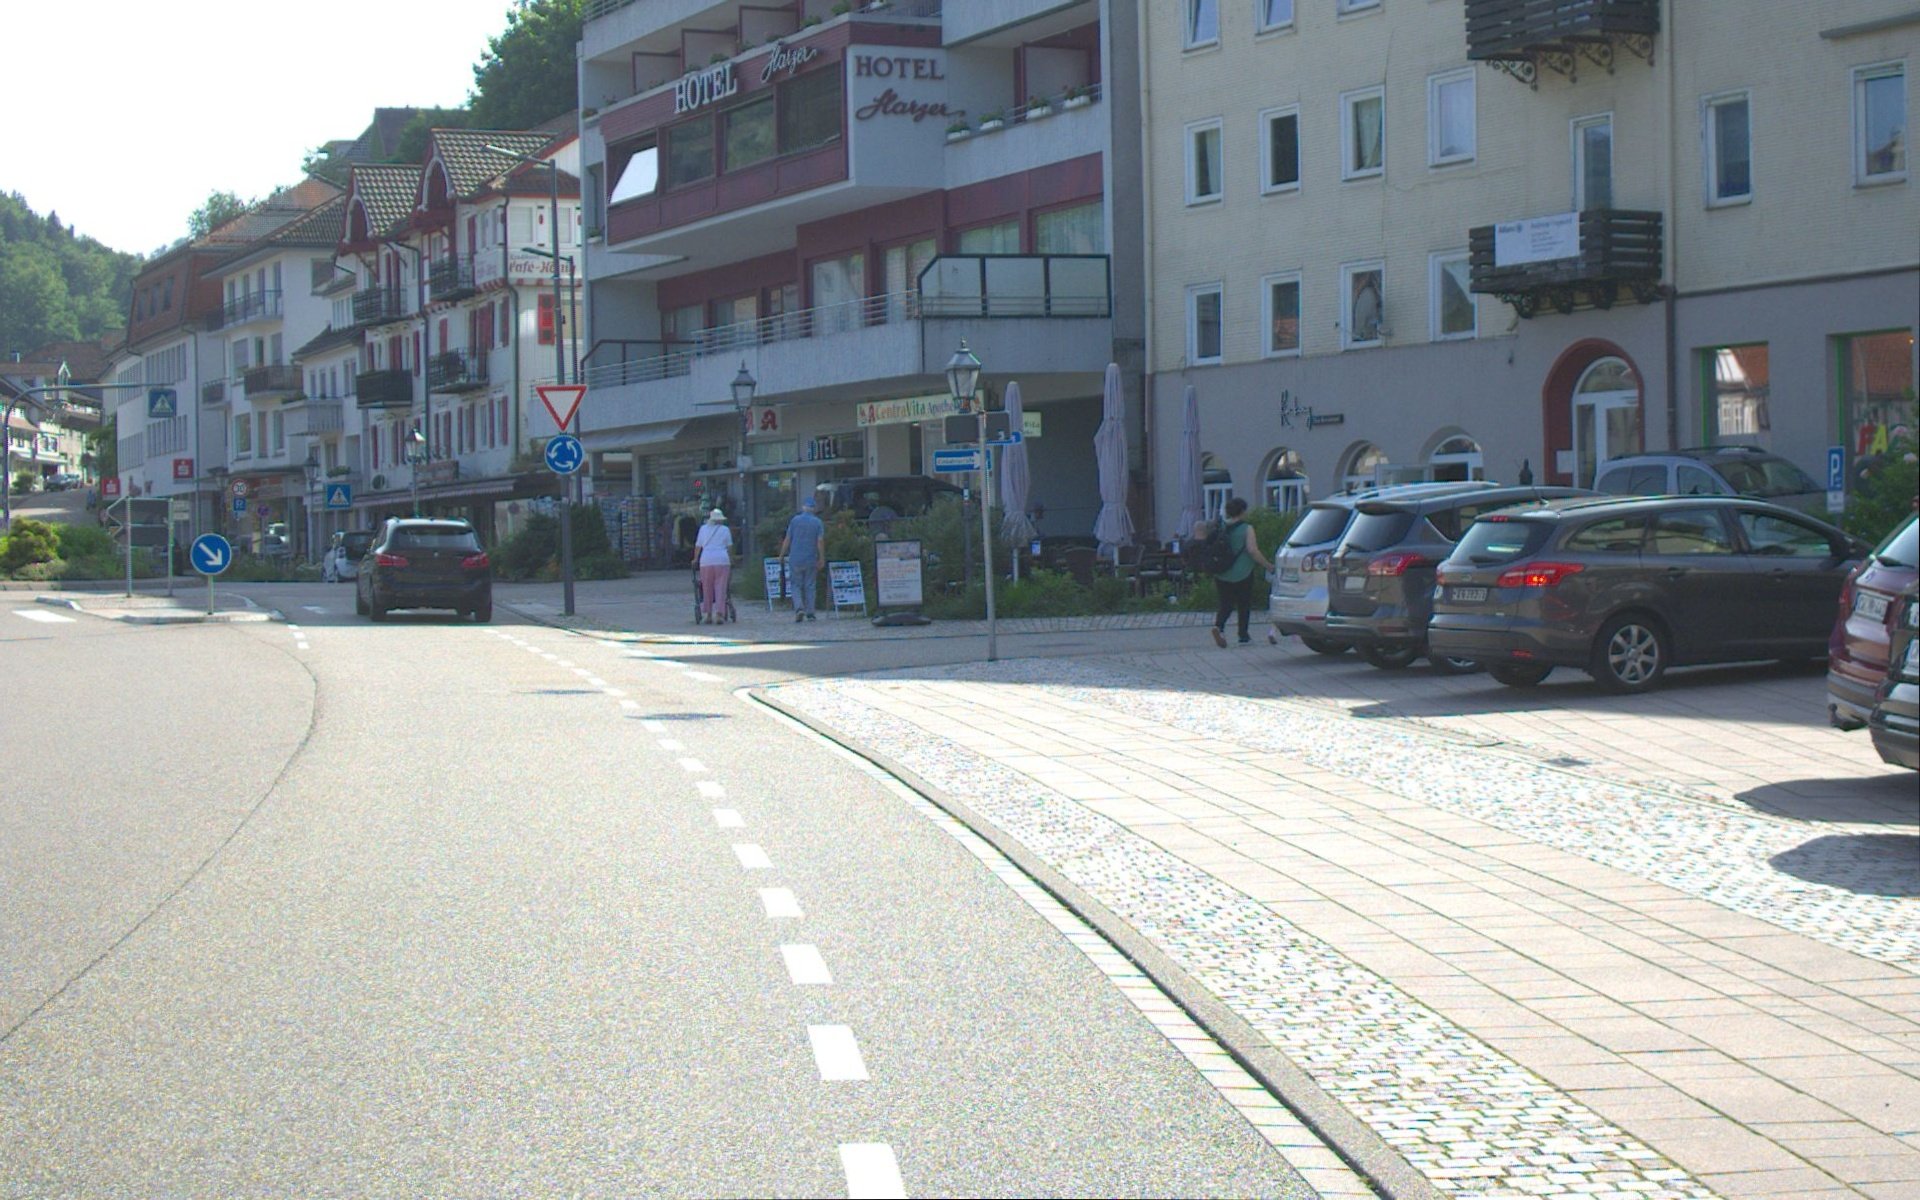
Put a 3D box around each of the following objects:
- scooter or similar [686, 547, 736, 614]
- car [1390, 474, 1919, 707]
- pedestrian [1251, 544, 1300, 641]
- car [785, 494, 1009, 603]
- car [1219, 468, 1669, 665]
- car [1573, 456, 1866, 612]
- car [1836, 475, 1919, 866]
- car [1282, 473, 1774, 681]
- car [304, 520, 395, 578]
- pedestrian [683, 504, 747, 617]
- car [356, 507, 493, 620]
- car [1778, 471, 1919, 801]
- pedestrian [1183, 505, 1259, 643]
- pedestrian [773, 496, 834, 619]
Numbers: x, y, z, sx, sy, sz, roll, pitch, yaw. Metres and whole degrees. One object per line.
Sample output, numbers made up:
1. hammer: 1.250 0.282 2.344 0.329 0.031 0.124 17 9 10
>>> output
1. scooter or similar: -3.573 -0.277 49.272 0.596 0.947 0.474 -1 1 -21
2. car: 5.609 -0.122 26.972 4.009 1.511 1.773 -4 3 -19
3. pedestrian: 3.365 -0.086 36.650 0.417 0.998 0.531 -2 1 13
4. car: -0.992 -0.814 53.839 3.162 1.657 1.595 -1 1 -19
5. car: 4.666 -0.360 33.226 3.860 1.607 1.773 -4 3 -19
6. car: 10.207 -0.933 46.441 1.857 2.006 3.678 -1 3 -30
7. car: 6.156 0.356 15.176 4.084 1.660 1.772 2 1 2
8. car: 5.013 -0.241 30.414 3.860 1.544 1.773 -4 3 -19
9. car: -17.341 -1.454 97.536 1.676 1.615 4.001 -1 1 -23
10. pedestrian: -3.503 -0.567 49.101 0.757 1.588 0.628 -1 1 -21
11. car: -8.160 -0.586 52.190 1.727 1.569 3.754 -1 3 -14
12. car: 6.623 0.218 18.639 3.910 1.695 1.773 2 2 2
13. pedestrian: 2.797 -0.282 36.862 0.735 1.437 0.633 -3 1 3
14. pedestrian: -2.228 -0.611 48.818 0.668 1.723 0.708 -1 1 -21
